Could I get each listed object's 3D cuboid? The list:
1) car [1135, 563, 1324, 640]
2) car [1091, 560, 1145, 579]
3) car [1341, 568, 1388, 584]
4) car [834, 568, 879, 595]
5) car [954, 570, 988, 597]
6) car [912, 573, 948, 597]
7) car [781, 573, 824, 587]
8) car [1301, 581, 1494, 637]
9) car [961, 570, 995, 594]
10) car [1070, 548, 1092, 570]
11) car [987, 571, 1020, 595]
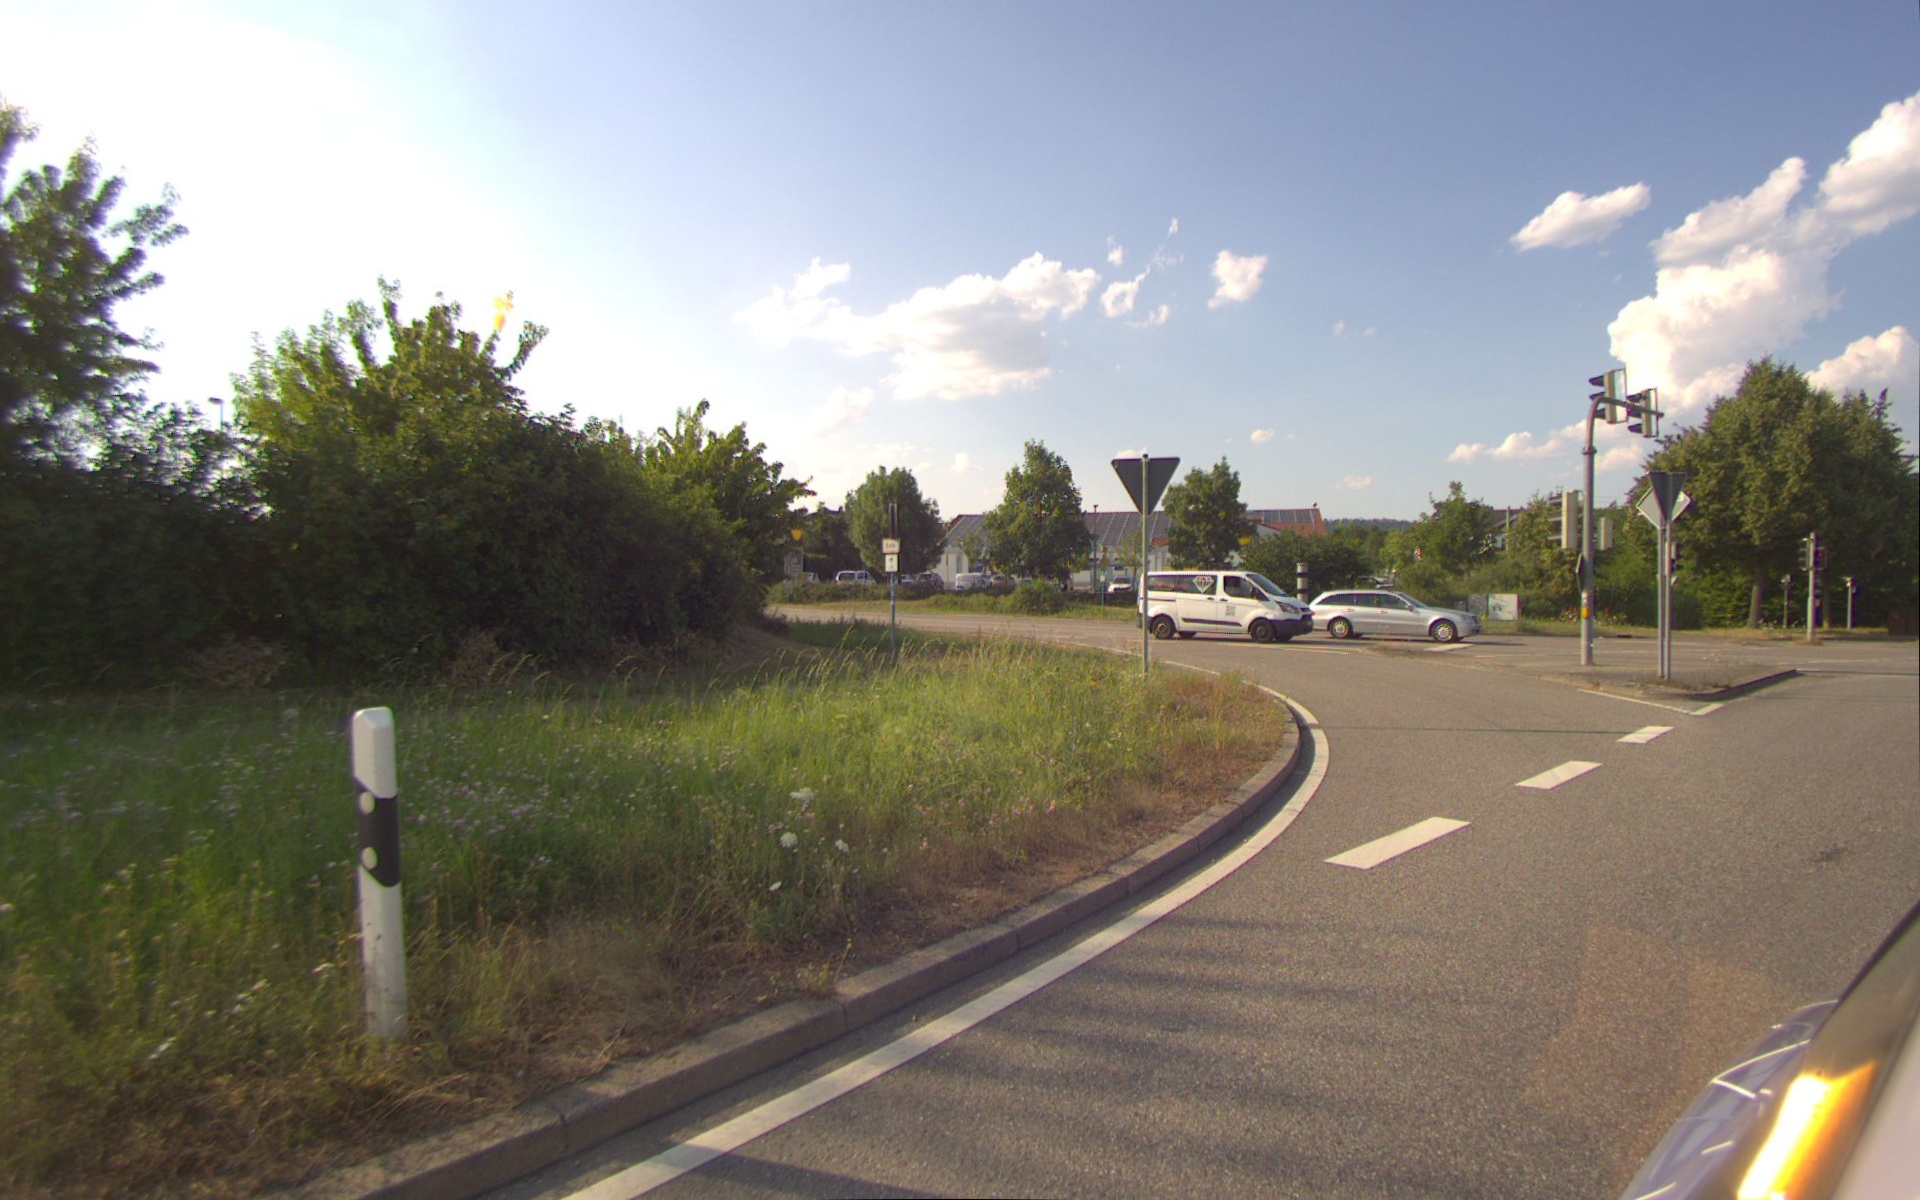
[{"bbox_3d":[7.553,0.005,28.574,4.791,1.972,1.881,2,0,37],"label":"car"},{"bbox_3d":[14.172,-2.714,90.795,4.720,1.554,1.843,0,-1,13],"label":"car"},{"bbox_3d":[37.476,-2.252,93.791,3.883,1.392,2.009,1,0,18],"label":"car"},{"bbox_3d":[-8.562,-1.505,84.220,1.972,2.039,4.905,0,-1,16],"label":"car"},{"bbox_3d":[0.922,-1.313,81.832,1.936,2.039,4.641,0,-1,11],"label":"car"},{"bbox_3d":[-2.816,-1.377,95.092,1.972,2.039,4.905,0,-1,16],"label":"car"},{"bbox_3d":[-16.209,-2.079,104.220,3.883,1.392,2.009,1,0,18],"label":"car"},{"bbox_3d":[12.767,0.259,29.692,4.925,1.533,1.838,0,-1,38],"label":"car"},{"bbox_3d":[1.687,-1.642,93.699,1.972,2.039,4.905,0,-1,16],"label":"car"},{"bbox_3d":[11.403,-3.806,95.118,1.803,1.869,3.775,0,-1,11],"label":"car"},{"bbox_3d":[4.013,-1.582,93.299,1.972,2.039,4.647,0,-1,16],"label":"car"}]
